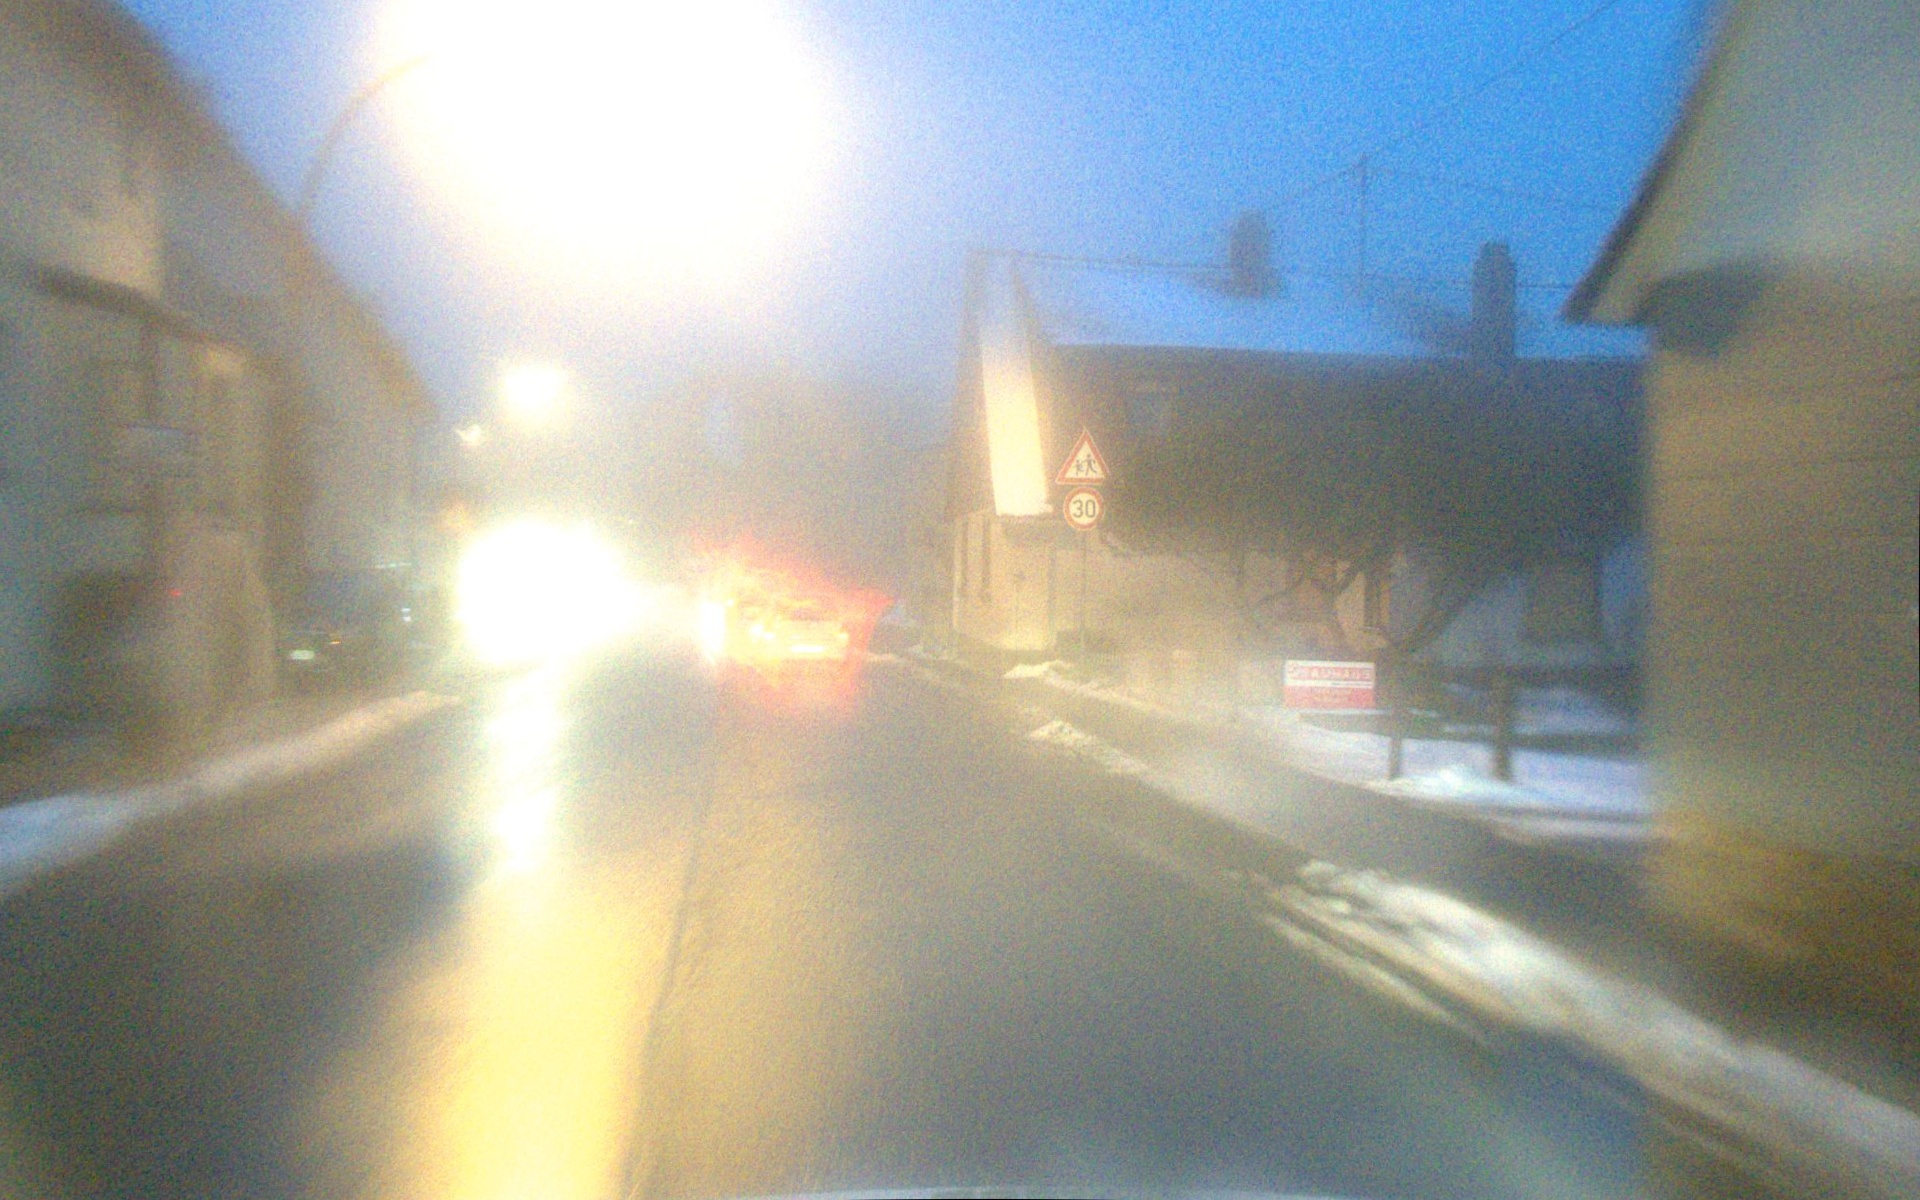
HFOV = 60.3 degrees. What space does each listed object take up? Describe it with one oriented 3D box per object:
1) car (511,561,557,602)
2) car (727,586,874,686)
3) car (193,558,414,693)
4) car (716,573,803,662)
[{"bbox_3d":[-18.718,-0.800,72.782,1.809,1.717,4.463,1,0,-13],"label":"car"},{"bbox_3d":[-2.911,0.629,29.382,1.960,1.534,3.985,4,-2,-14],"label":"car"},{"bbox_3d":[-8.716,0.264,22.341,1.958,1.549,4.180,3,1,-11],"label":"car"},{"bbox_3d":[-5.075,0.467,41.896,1.956,2.049,3.993,3,-2,-7],"label":"car"}]
